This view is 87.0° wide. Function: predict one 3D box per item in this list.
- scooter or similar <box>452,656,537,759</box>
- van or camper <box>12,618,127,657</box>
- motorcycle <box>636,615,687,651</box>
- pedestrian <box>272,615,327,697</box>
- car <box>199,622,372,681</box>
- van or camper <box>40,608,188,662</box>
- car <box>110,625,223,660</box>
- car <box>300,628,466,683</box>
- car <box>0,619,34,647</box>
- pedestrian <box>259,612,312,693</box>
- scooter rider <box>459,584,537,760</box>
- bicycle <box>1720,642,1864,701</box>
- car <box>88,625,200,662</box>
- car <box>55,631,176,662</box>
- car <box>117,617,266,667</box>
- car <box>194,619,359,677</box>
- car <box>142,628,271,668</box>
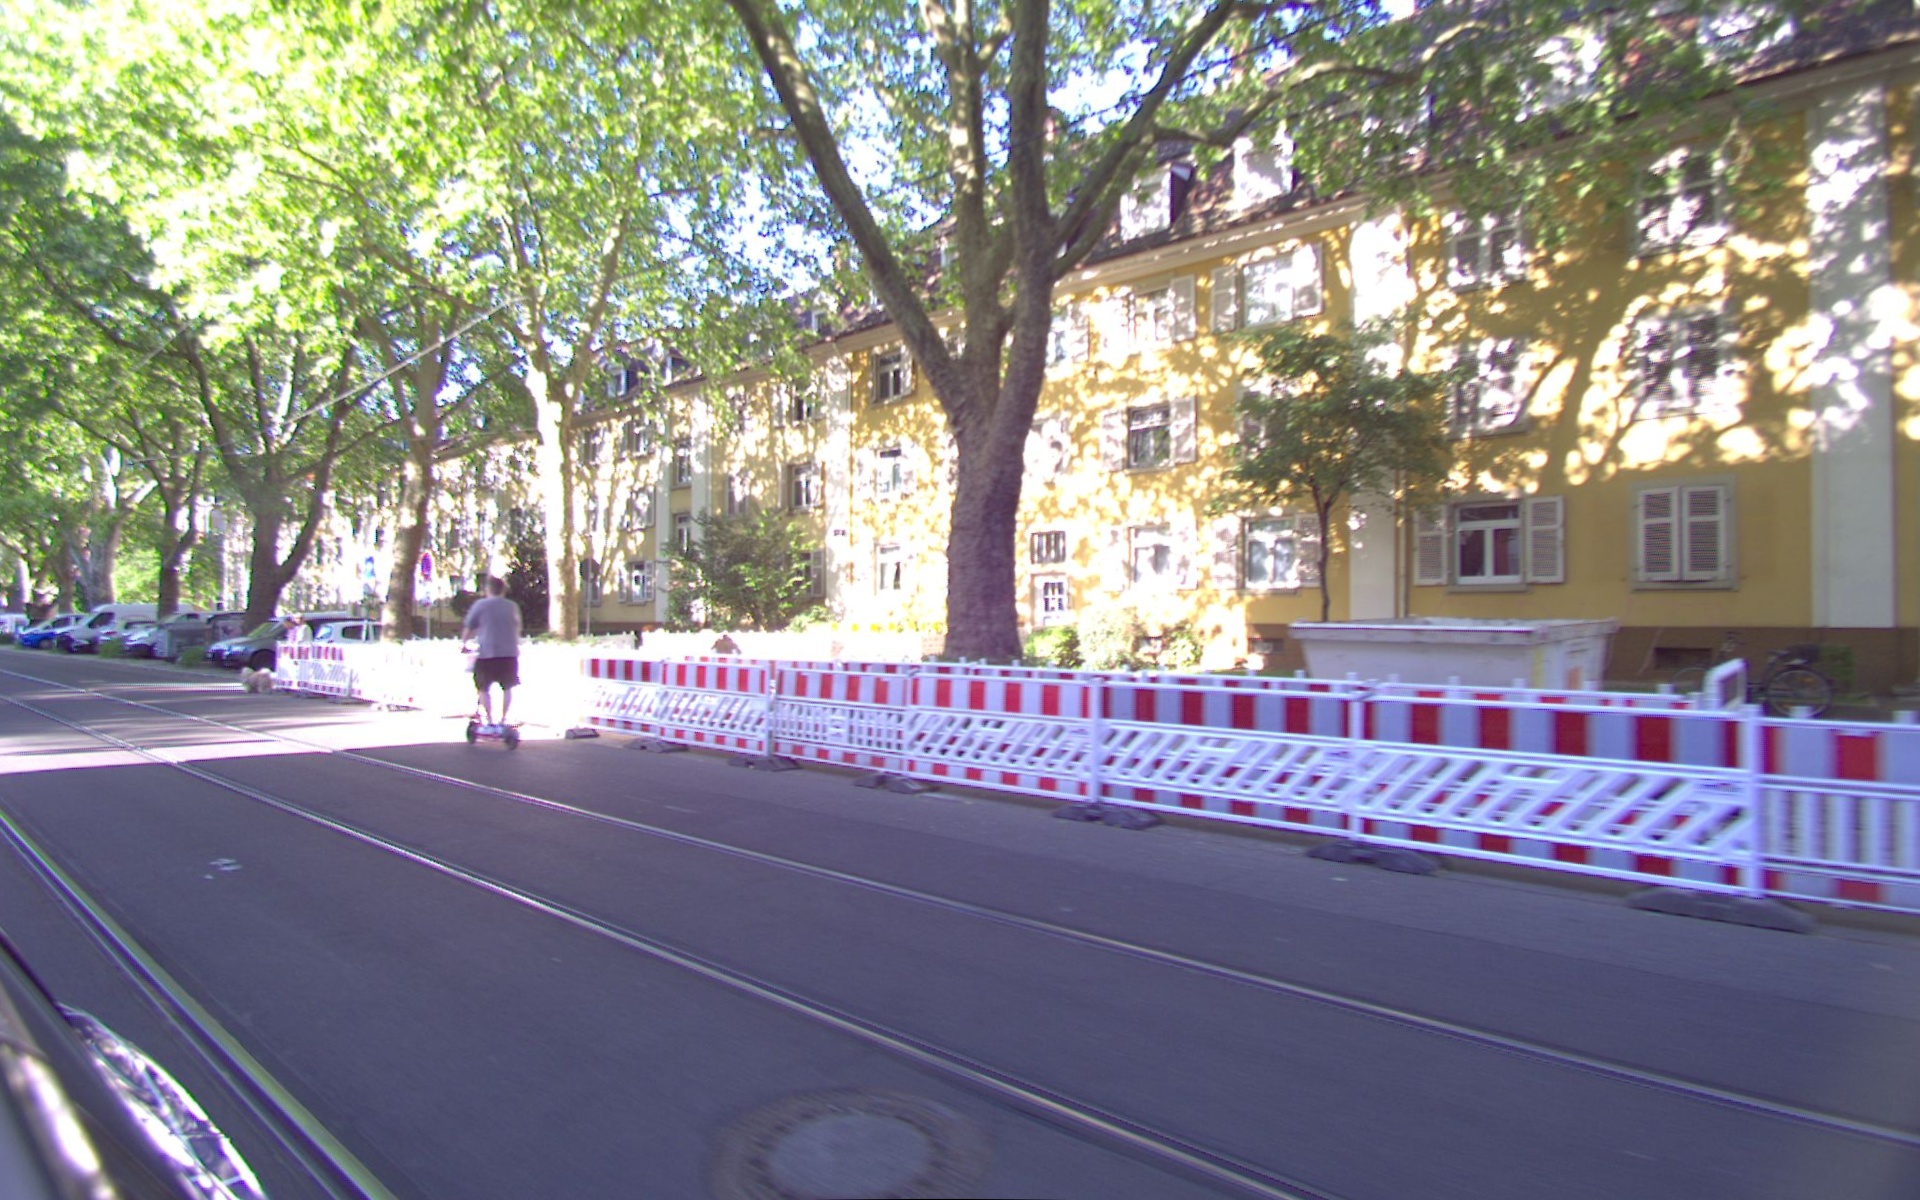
[{"bbox_3d":[-5.414,1.219,11.753,1.338,1.091,0.403,-1,-1,42],"label":"scooter or similar"},{"bbox_3d":[-51.796,2.143,58.931,2.118,2.206,4.771,-2,-2,40],"label":"van or camper"},{"bbox_3d":[-10.595,1.171,35.965,0.523,1.250,1.691,-2,-3,42],"label":"motorcycle"},{"bbox_3d":[-14.425,1.200,22.099,0.796,1.758,0.813,-1,-1,41],"label":"pedestrian"},{"bbox_3d":[-20.861,1.566,31.387,4.183,1.701,1.935,2,-3,-42],"label":"car"},{"bbox_3d":[-42.235,1.705,50.635,2.443,2.535,5.334,-2,-2,40],"label":"van or camper"},{"bbox_3d":[-36.461,1.952,46.552,1.861,1.509,3.807,-2,-3,41],"label":"car"},{"bbox_3d":[-16.844,1.585,29.672,1.861,1.509,3.807,-2,-3,41],"label":"car"},{"bbox_3d":[-85.612,2.954,89.740,2.026,2.416,4.956,-3,-2,39],"label":"car"},{"bbox_3d":[-15.082,1.152,22.630,0.796,1.758,0.813,-1,-1,41],"label":"pedestrian"},{"bbox_3d":[-5.394,0.815,11.816,0.624,1.972,0.642,-1,-1,41],"label":"scooter rider"},{"bbox_3d":[12.551,1.061,15.328,1.641,0.825,0.501,-1,-2,38],"label":"bicycle"},{"bbox_3d":[-38.412,2.052,47.709,1.861,1.675,3.807,-2,-3,41],"label":"car"},{"bbox_3d":[-40.570,2.223,48.706,1.752,1.409,4.219,-2,-3,41],"label":"car"},{"bbox_3d":[-31.909,1.705,42.137,1.959,1.960,4.613,-2,-2,38],"label":"car"},{"bbox_3d":[-22.316,1.514,33.157,1.738,1.771,4.157,-2,-2,39],"label":"car"},{"bbox_3d":[-29.918,1.886,40.263,1.861,1.509,3.807,-2,-3,41],"label":"car"}]
